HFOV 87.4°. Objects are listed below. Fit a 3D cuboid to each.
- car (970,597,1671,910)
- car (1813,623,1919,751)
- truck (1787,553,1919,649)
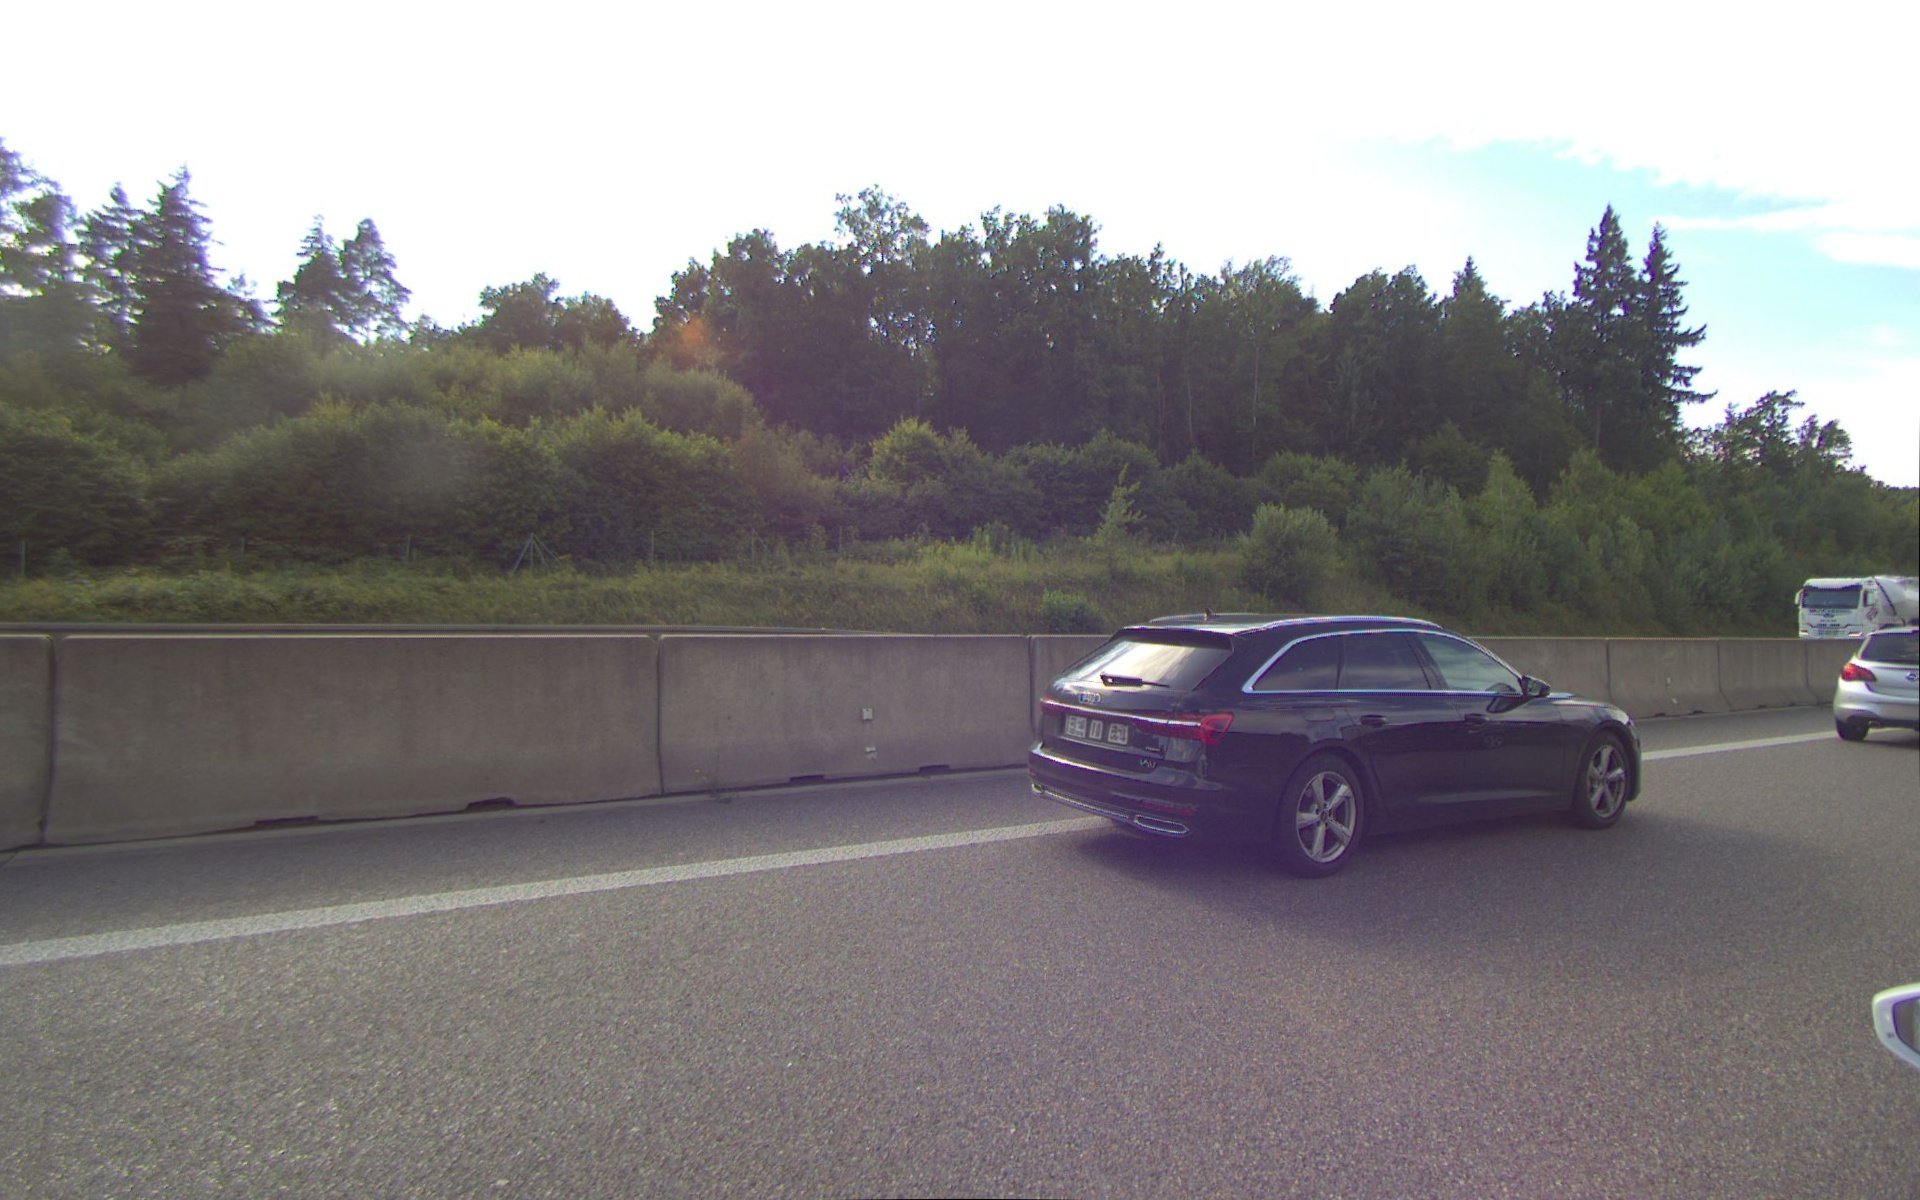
[{"bbox_3d":[2.603,0.787,6.878,4.794,1.491,1.873,1,0,-30],"label":"car"},{"bbox_3d":[12.866,1.058,12.914,3.994,1.485,1.738,1,-1,-31],"label":"car"},{"bbox_3d":[46.845,0.209,51.233,13.756,4.412,2.916,2,0,-32],"label":"truck"}]
